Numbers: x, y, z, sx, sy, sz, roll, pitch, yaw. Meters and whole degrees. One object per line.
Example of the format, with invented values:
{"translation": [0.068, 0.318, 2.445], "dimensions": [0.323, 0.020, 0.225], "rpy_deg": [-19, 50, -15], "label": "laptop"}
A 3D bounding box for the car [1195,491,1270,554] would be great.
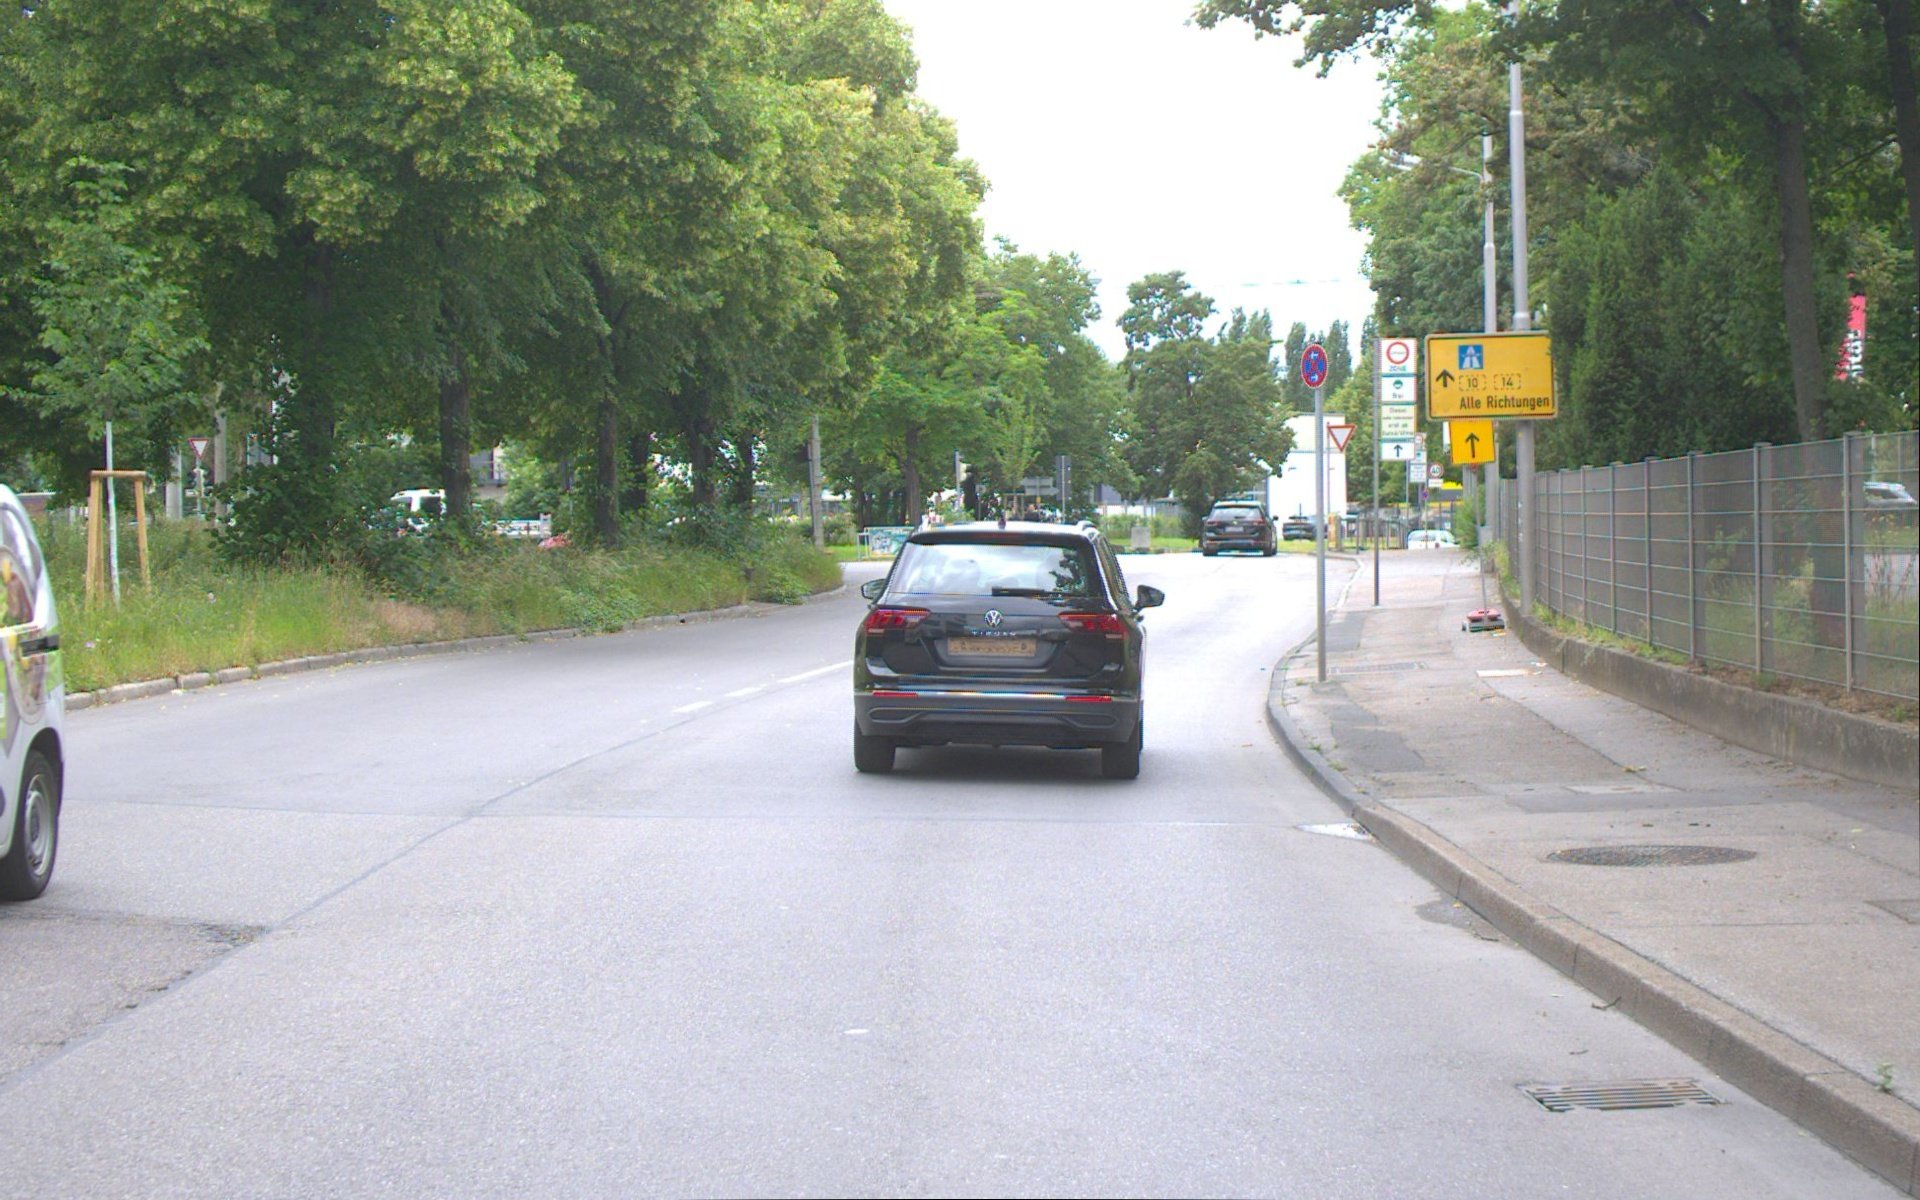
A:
{"translation": [7.176, -2.044, 90.700], "dimensions": [1.659, 1.569, 3.829], "rpy_deg": [-2, 1, 1], "label": "car"}

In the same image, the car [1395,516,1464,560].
{"translation": [19.170, -2.547, 140.303], "dimensions": [1.995, 1.780, 3.996], "rpy_deg": [1, 1, 19], "label": "car"}

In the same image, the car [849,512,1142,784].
{"translation": [0.245, 0.266, 22.659], "dimensions": [1.739, 1.612, 3.641], "rpy_deg": [1, 1, 1], "label": "car"}

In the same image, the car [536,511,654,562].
{"translation": [-11.032, -1.922, 104.143], "dimensions": [3.393, 1.473, 1.641], "rpy_deg": [-1, 2, -1], "label": "car"}

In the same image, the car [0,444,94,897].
{"translation": [-4.624, 0.283, 12.595], "dimensions": [1.808, 1.758, 4.206], "rpy_deg": [0, 1, 0], "label": "car"}

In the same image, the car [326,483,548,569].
{"translation": [-15.307, -2.184, 100.823], "dimensions": [6.070, 2.379, 2.395], "rpy_deg": [-1, 2, 2], "label": "car"}
